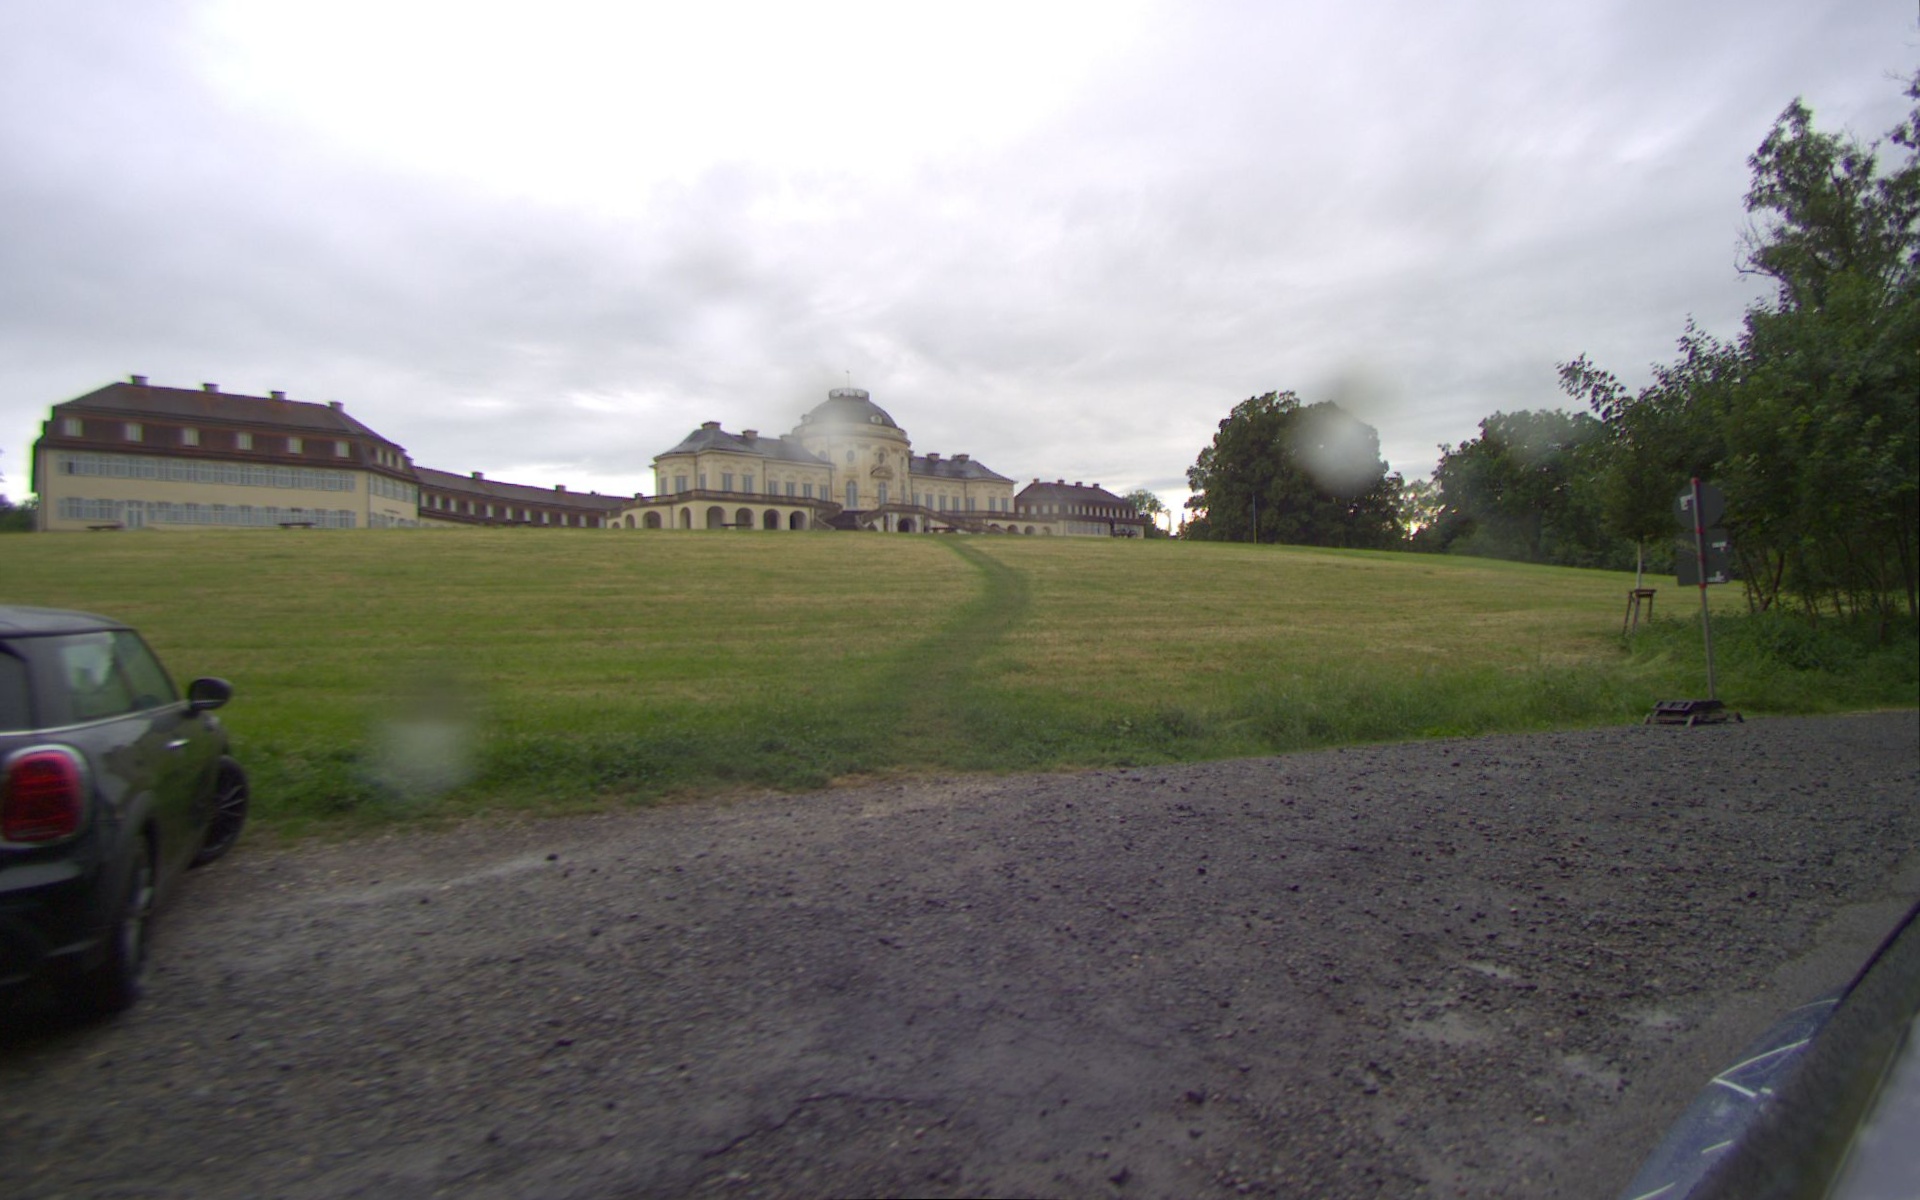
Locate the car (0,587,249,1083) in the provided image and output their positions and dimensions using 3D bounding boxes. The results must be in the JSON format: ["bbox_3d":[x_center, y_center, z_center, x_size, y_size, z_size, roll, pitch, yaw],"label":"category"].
[{"bbox_3d":[-4.230,0.753,4.312,1.673,1.454,3.721,0,-2,-31],"label":"car"}]
